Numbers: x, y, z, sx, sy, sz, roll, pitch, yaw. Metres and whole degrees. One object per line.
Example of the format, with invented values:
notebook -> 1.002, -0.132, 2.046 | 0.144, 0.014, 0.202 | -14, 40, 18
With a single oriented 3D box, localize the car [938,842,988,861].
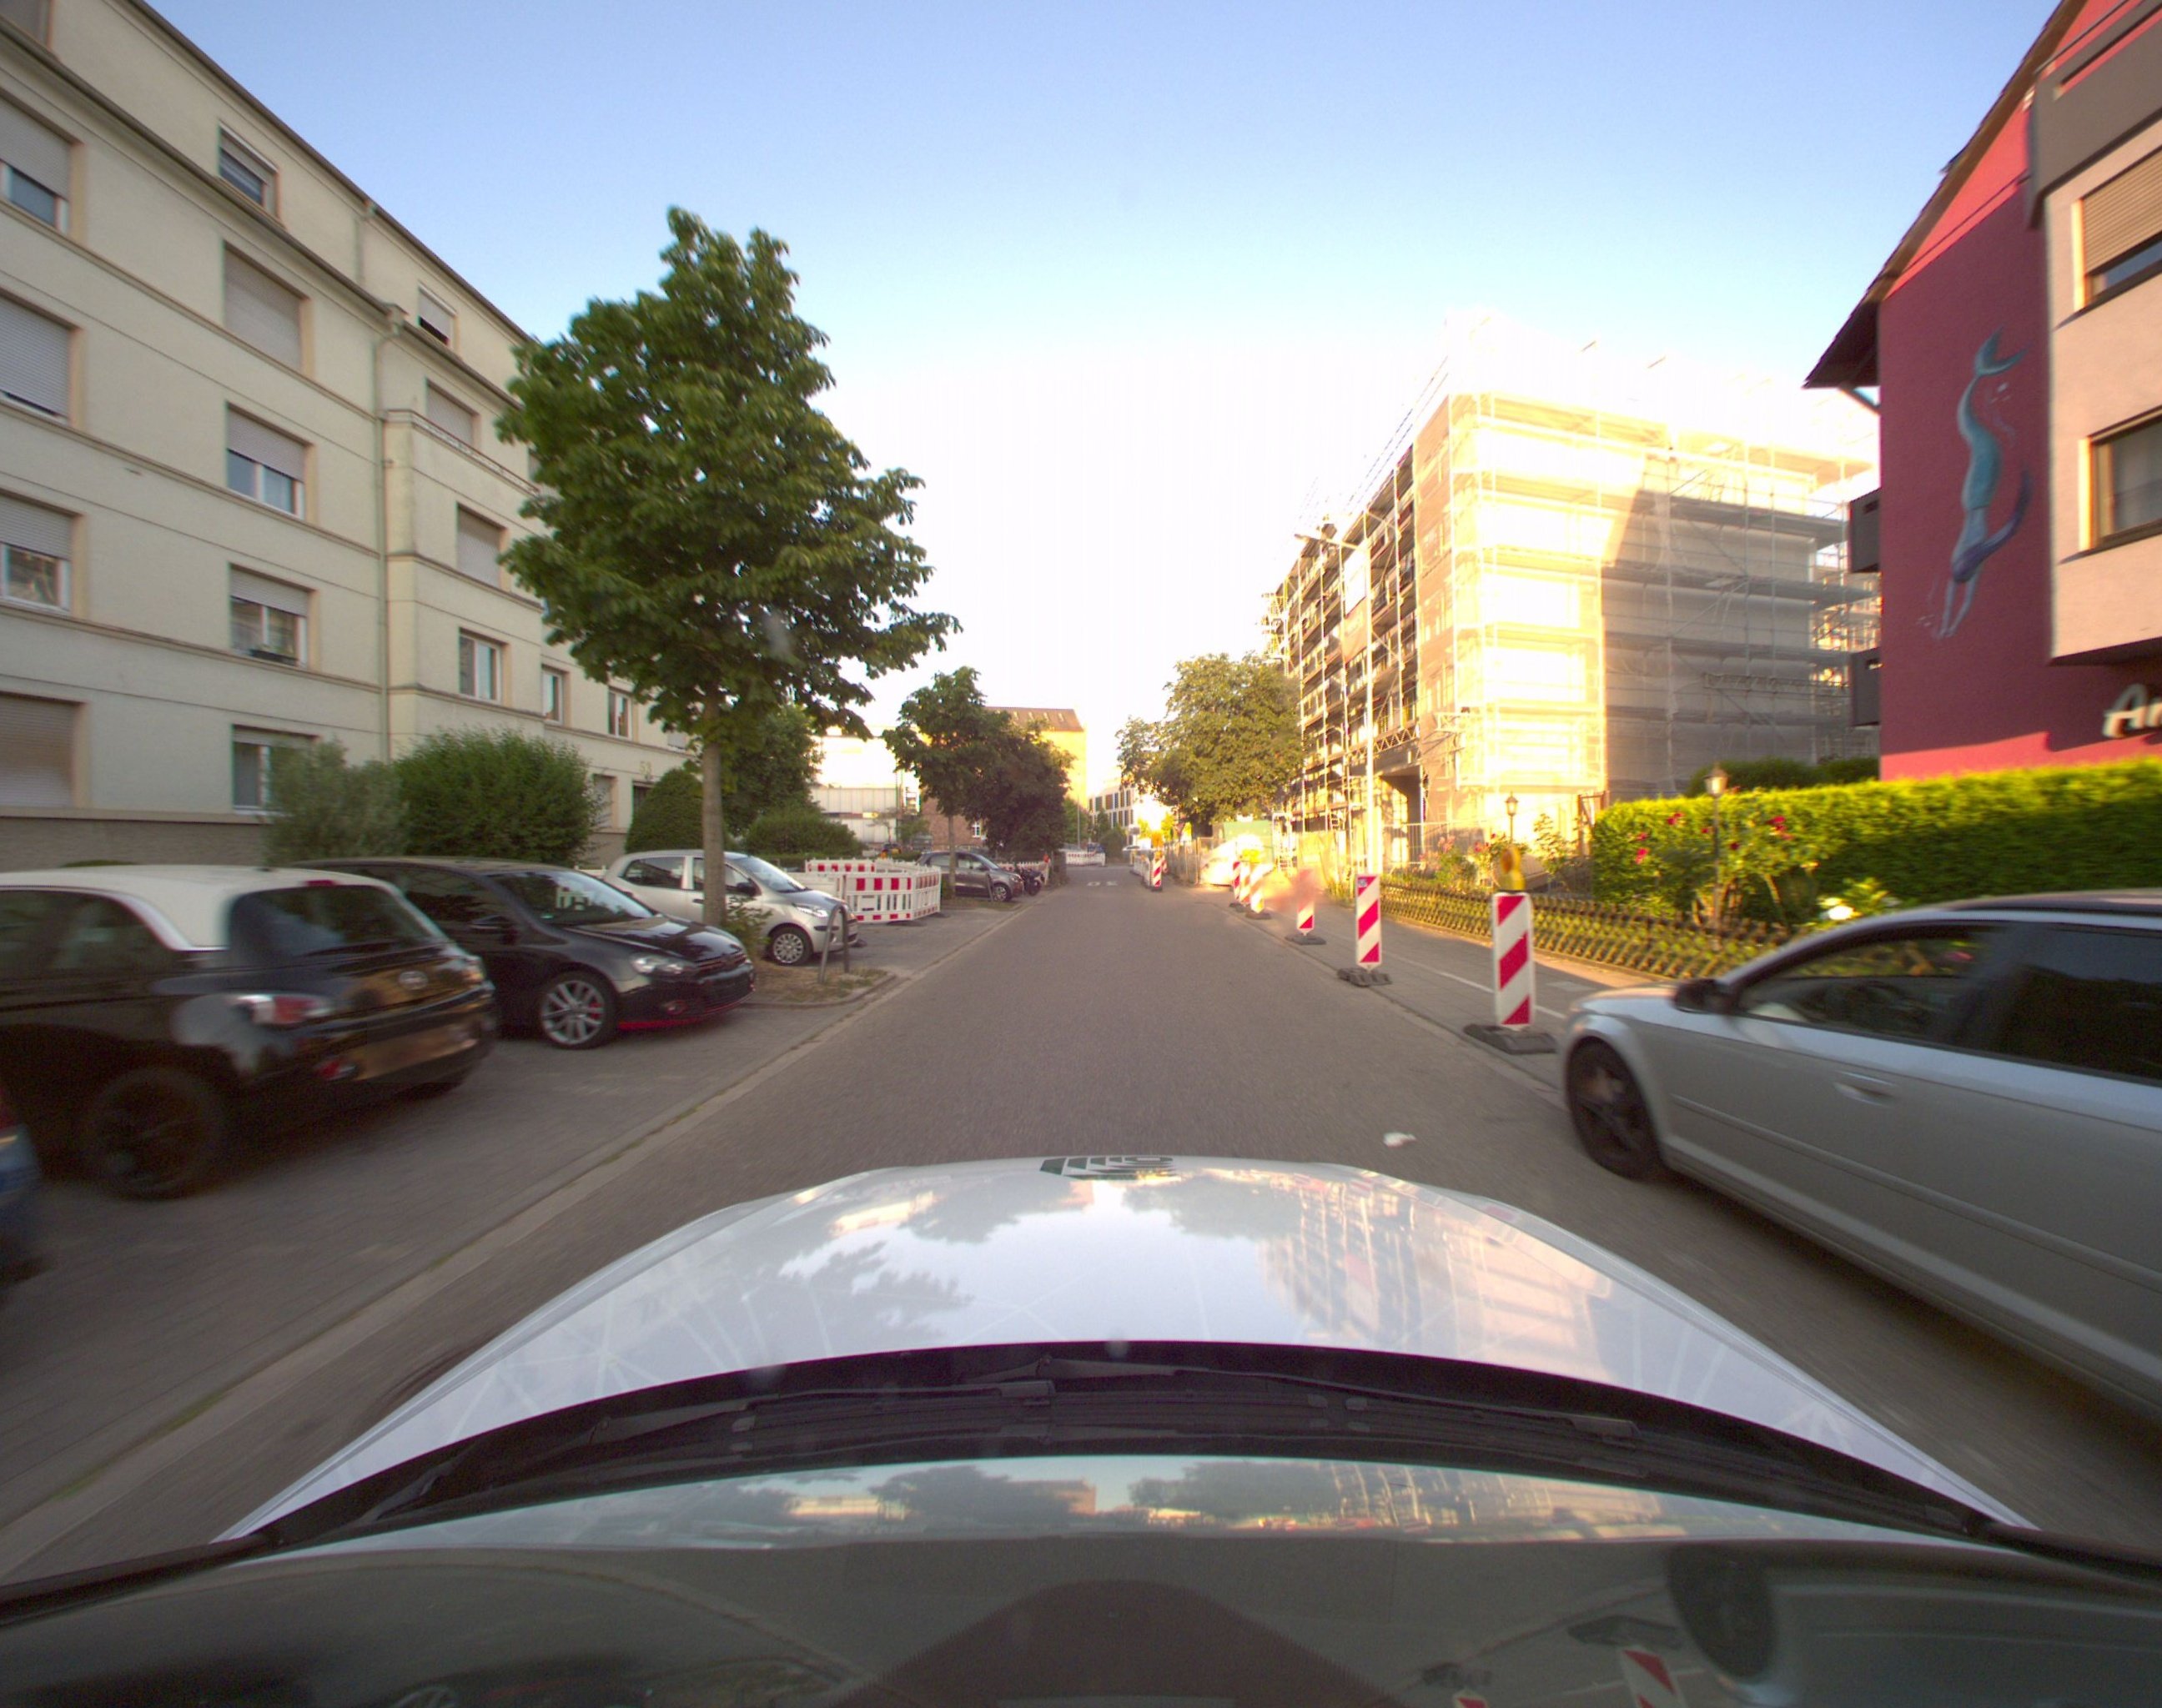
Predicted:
car -> -11.265, -0.248, 78.020 | 4.590, 1.638, 1.568 | -1, 0, -14

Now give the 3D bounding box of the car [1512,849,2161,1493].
car -> 3.305, 0.699, 2.631 | 1.769, 1.397, 4.110 | -1, 0, 2

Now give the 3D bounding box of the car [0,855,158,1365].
car -> -4.914, 0.715, 1.869 | 3.662, 1.445, 1.729 | 0, -1, 2

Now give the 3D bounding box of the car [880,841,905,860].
car -> -17.488, -0.365, 75.550 | 1.999, 1.692, 3.977 | -1, 1, -17

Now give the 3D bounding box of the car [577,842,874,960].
car -> -4.935, 0.637, 11.675 | 3.464, 1.566, 1.727 | 0, -1, -1

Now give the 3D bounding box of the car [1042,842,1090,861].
car -> -1.439, -0.245, 77.987 | 4.279, 1.708, 1.693 | -1, 0, -17

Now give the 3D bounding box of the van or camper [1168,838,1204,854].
van or camper -> 15.491, -1.140, 120.253 | 4.977, 2.240, 1.676 | -1, 0, -19

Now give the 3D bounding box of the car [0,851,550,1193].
car -> -5.345, 0.733, 4.546 | 3.660, 1.484, 1.730 | 0, 0, 4

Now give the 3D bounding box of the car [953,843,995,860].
car -> -9.981, -0.264, 75.854 | 3.636, 1.503, 1.629 | -1, 0, -14

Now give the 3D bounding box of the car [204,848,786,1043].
car -> -4.946, 0.708, 7.242 | 3.959, 1.489, 1.730 | 0, -1, 4

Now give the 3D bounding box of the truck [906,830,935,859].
truck -> -15.064, -0.866, 76.157 | 2.337, 2.616, 4.948 | -1, 1, -14

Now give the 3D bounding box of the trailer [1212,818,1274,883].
trailer -> 6.805, -0.163, 34.667 | 1.985, 2.539, 4.190 | -1, 0, 3

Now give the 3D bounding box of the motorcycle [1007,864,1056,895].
motorcycle -> -1.727, 0.891, 28.964 | 0.532, 1.021, 2.225 | 2, 0, 31

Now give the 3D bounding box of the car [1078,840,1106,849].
car -> 1.675, -1.403, 124.211 | 3.996, 1.313, 1.867 | -1, 1, -17

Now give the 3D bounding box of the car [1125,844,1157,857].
car -> 7.712, -0.500, 105.088 | 3.752, 1.603, 1.676 | -1, 0, -19

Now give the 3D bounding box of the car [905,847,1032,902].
car -> -3.456, 0.608, 25.380 | 3.609, 1.557, 1.694 | 2, 0, 2
